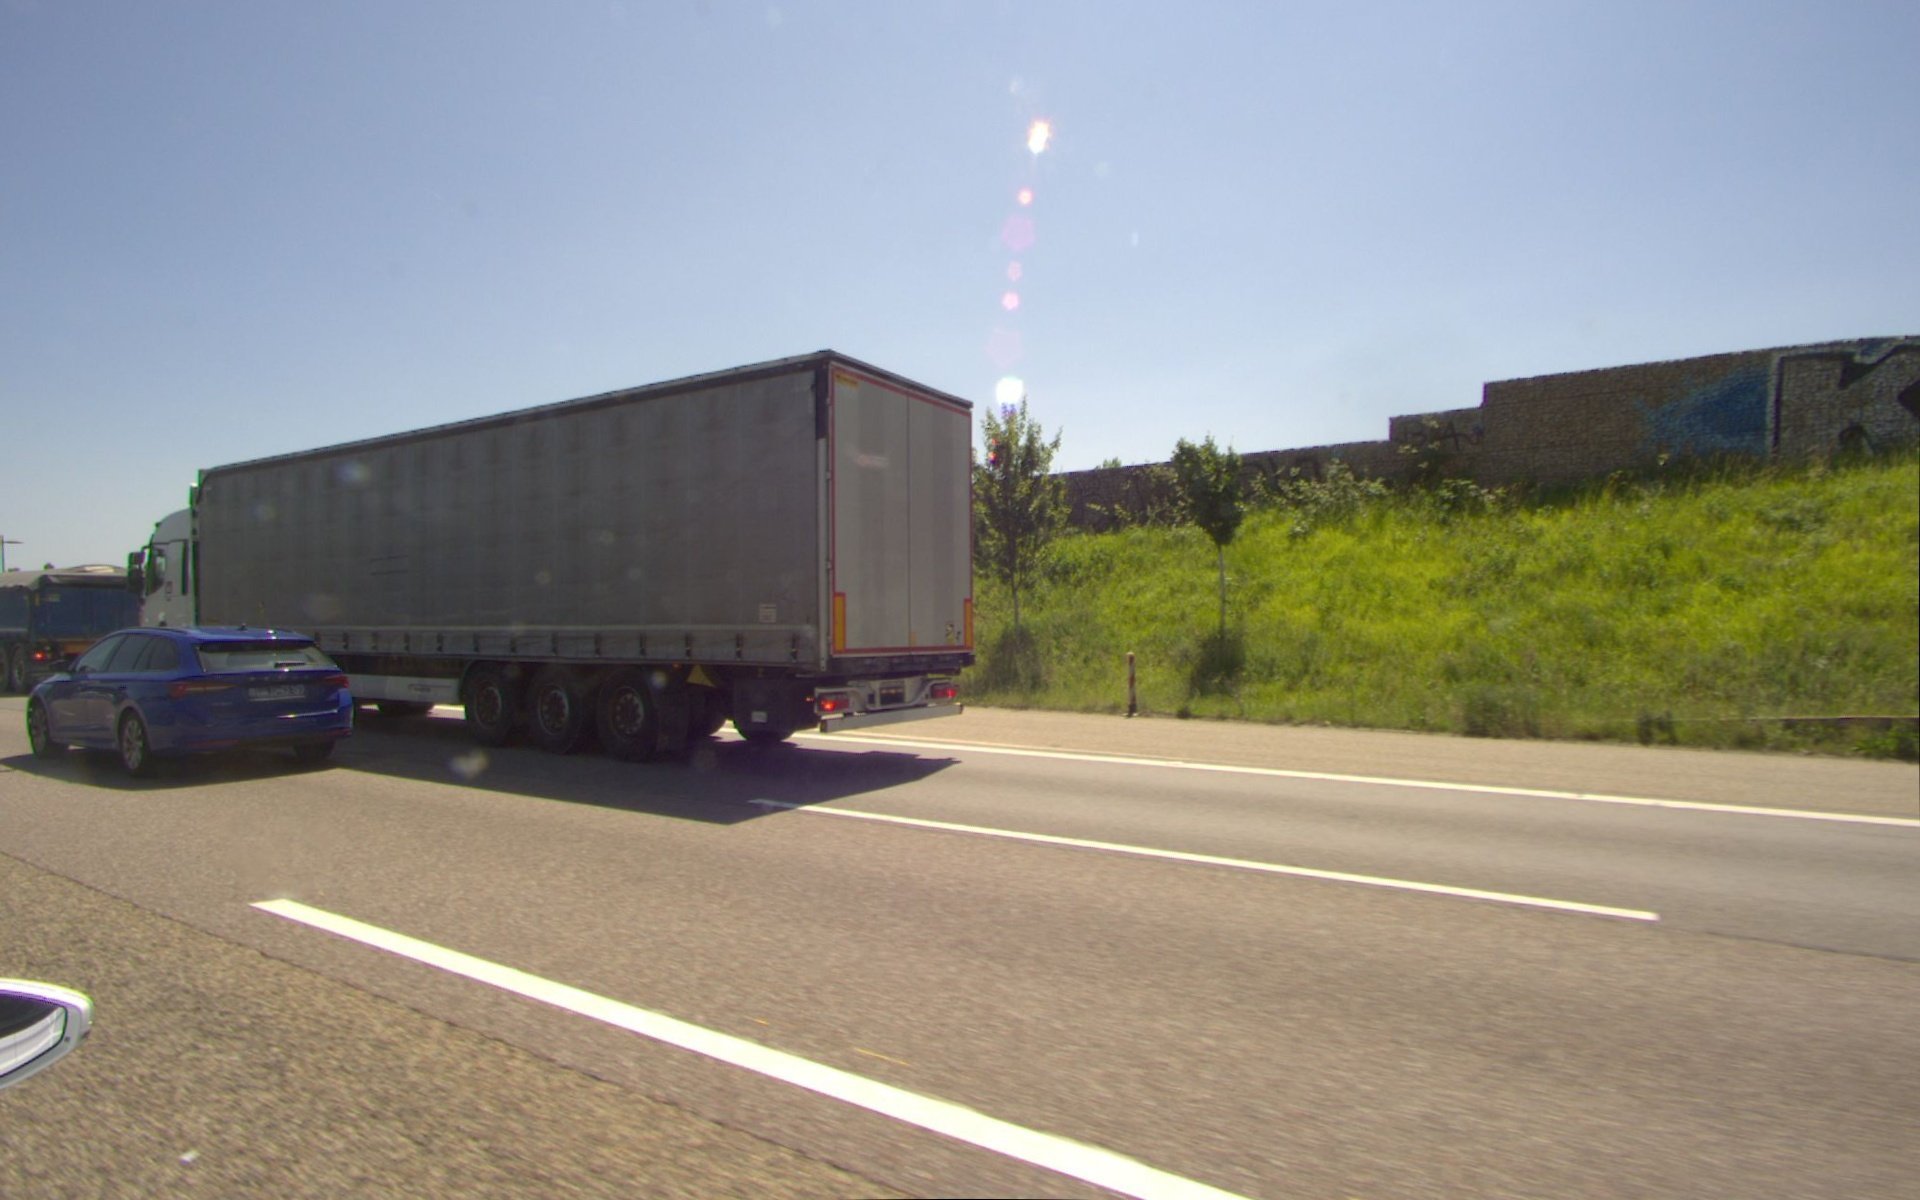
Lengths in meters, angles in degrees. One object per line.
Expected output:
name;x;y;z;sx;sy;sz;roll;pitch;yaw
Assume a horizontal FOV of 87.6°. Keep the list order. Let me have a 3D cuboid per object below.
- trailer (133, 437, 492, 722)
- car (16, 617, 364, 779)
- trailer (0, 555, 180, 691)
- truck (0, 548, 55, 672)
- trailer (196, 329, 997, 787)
trailer;-11.322;-0.252;17.364;6.320;4.097;2.918;0;0;33
car;-8.532;0.961;10.991;4.366;1.459;1.703;-2;-2;33
trailer;-22.792;0.513;24.746;8.986;2.873;2.738;0;-1;33
truck;-29.114;0.269;28.885;7.031;3.354;2.738;0;-1;33
trailer;-6.039;-0.277;13.924;13.558;4.102;2.956;-1;-1;33
